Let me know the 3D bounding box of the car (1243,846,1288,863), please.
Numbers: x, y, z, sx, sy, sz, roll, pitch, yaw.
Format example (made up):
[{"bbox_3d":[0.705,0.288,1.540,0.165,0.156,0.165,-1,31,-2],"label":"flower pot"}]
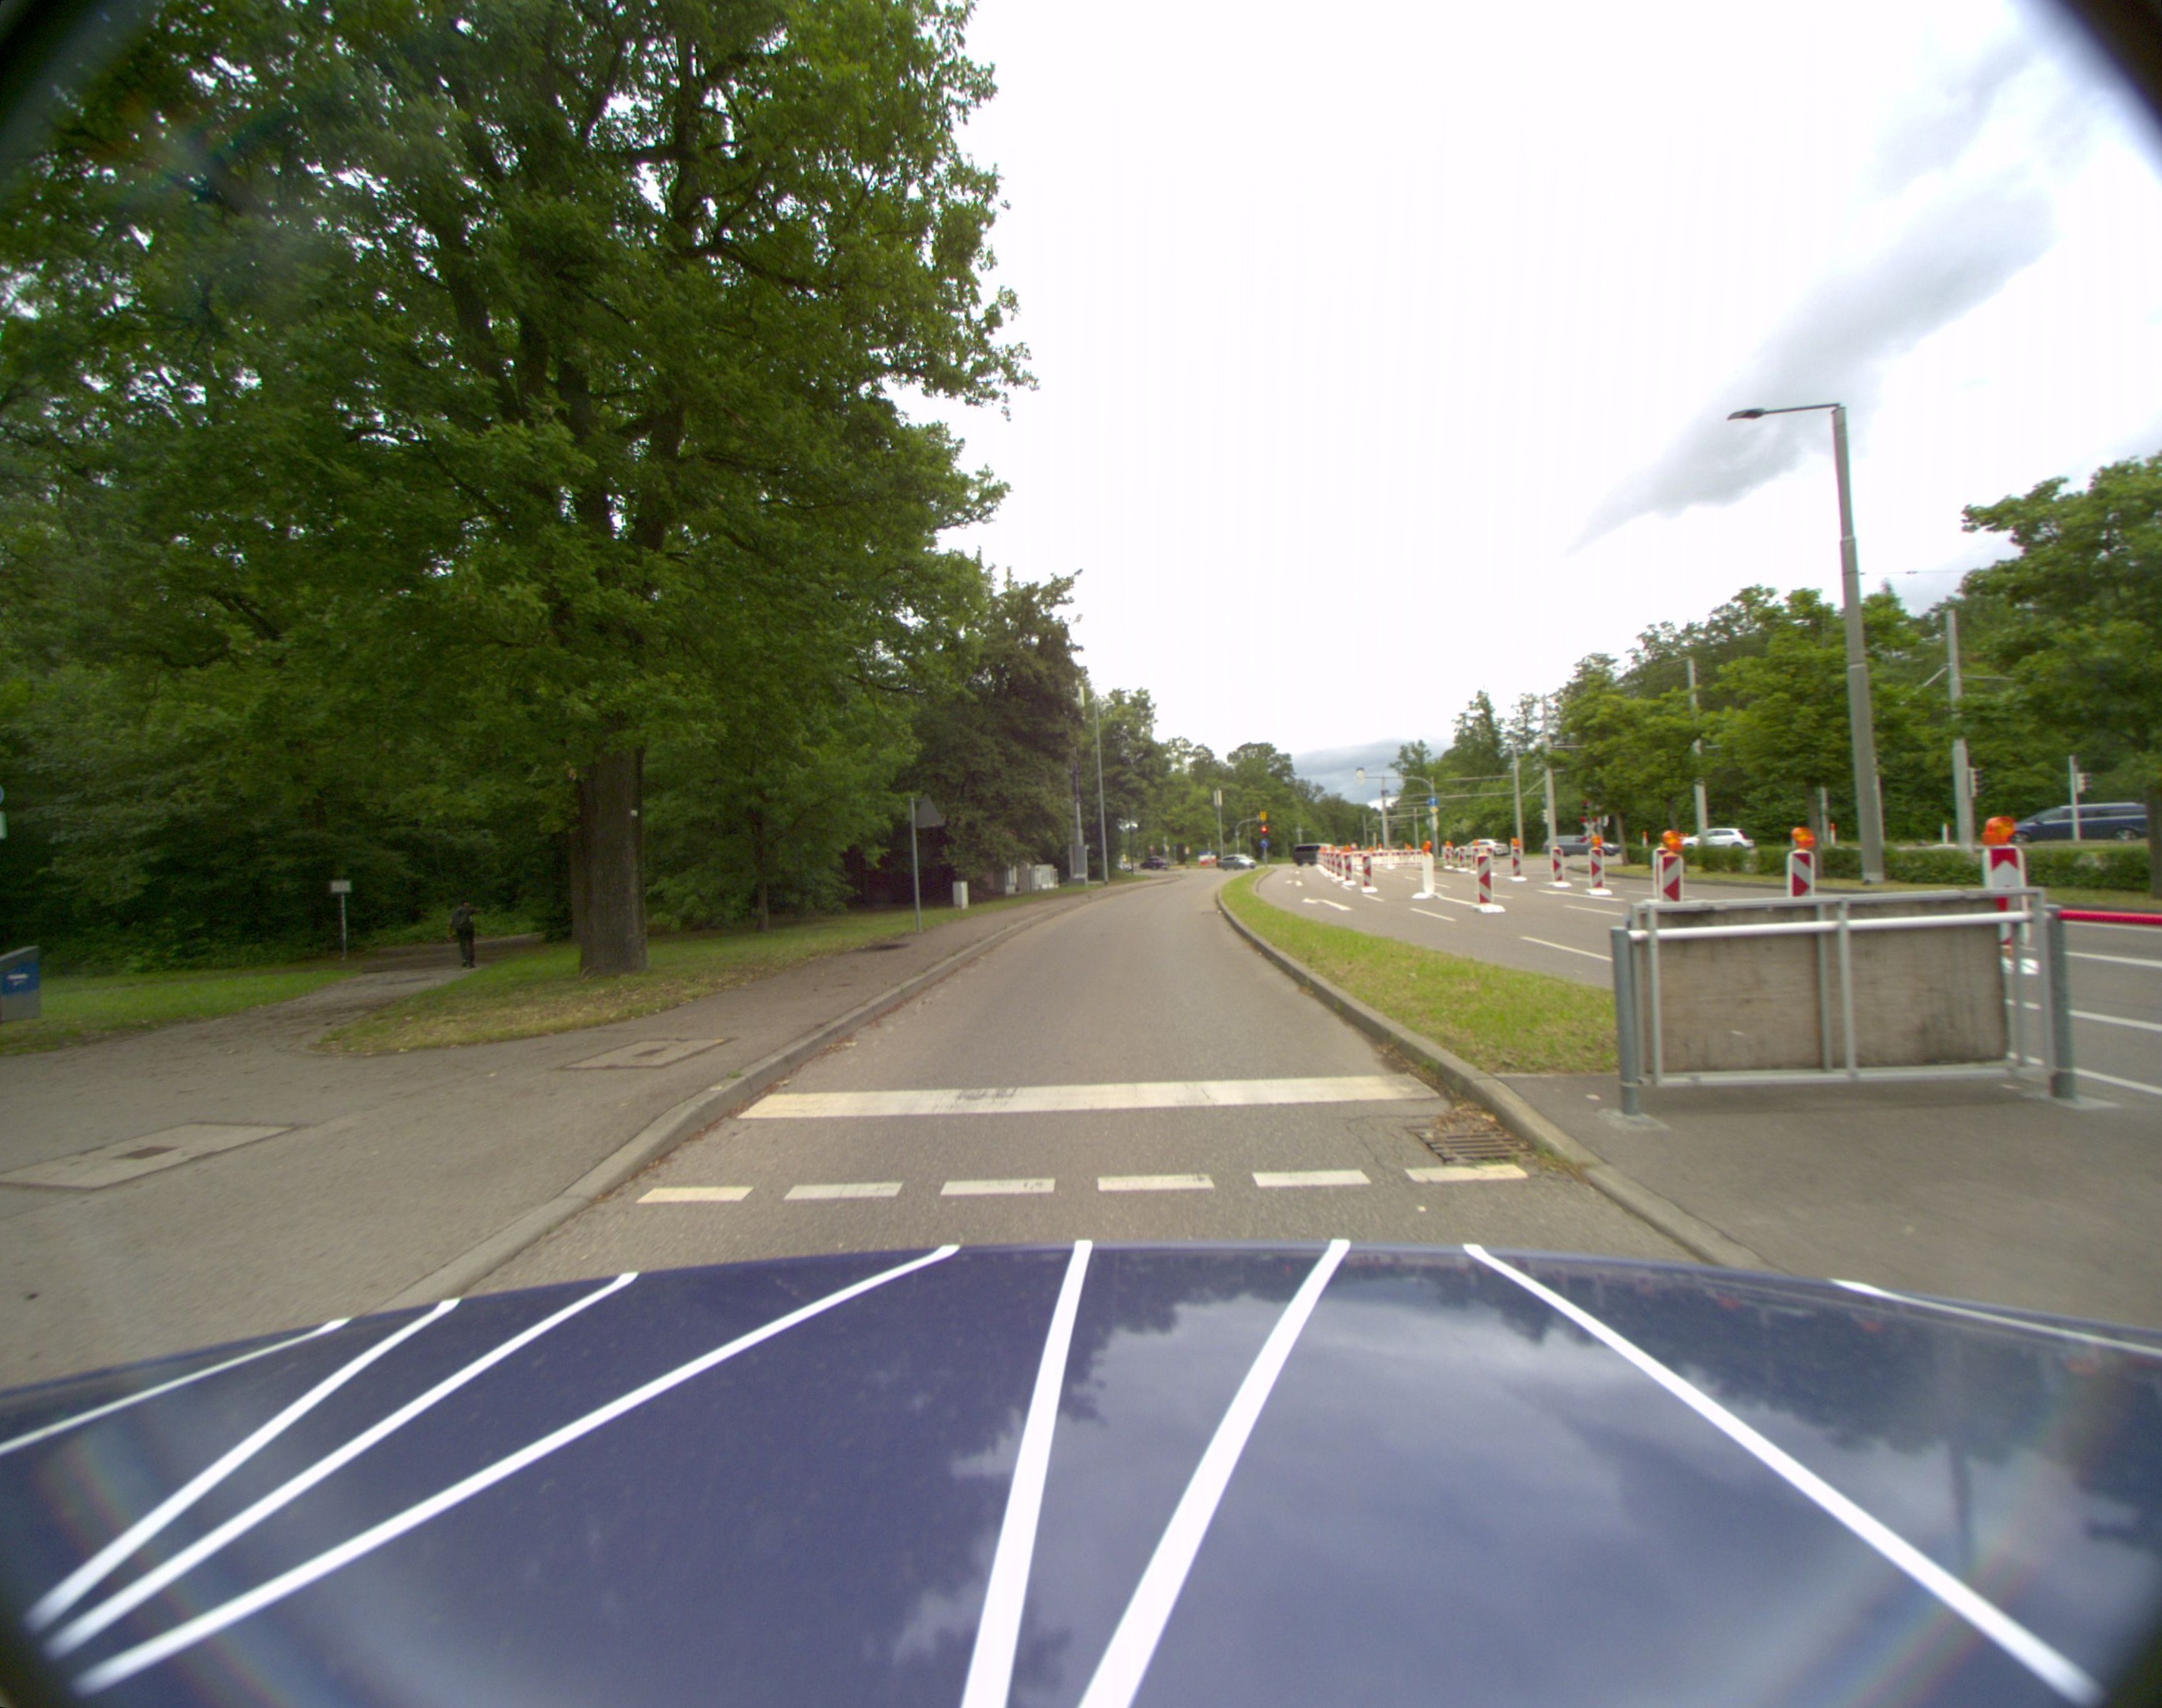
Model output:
[{"bbox_3d":[20.236,0.074,83.548,1.884,1.586,4.440,-4,0,-39],"label":"car"}]

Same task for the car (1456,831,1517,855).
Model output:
[{"bbox_3d":[33.901,-0.898,63.586,1.862,1.642,4.039,-4,0,-33],"label":"car"}]

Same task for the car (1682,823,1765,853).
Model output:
[{"bbox_3d":[42.476,-1.026,50.284,1.862,1.712,3.784,-4,0,-33],"label":"car"}]

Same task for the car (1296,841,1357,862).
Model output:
[{"bbox_3d":[21.731,-0.179,67.470,1.961,1.578,4.898,-4,0,-36],"label":"car"}]

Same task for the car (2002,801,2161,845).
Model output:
[{"bbox_3d":[50.312,-1.531,38.195,2.003,1.805,4.823,-4,0,-33],"label":"car"}]

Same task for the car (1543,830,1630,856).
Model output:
[{"bbox_3d":[33.135,-0.710,49.923,1.799,1.428,4.380,-4,0,-34],"label":"car"}]

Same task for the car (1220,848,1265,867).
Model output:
[{"bbox_3d":[16.028,0.389,75.578,1.901,1.631,3.974,-4,0,-36],"label":"car"}]

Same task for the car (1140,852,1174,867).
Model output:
[{"bbox_3d":[9.970,0.735,99.914,2.003,1.718,4.463,-4,0,-31],"label":"car"}]

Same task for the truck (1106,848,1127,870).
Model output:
[{"bbox_3d":[5.578,0.714,119.119,2.746,3.192,6.673,-4,0,0],"label":"truck"}]

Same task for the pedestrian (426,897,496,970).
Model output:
[{"bbox_3d":[-15.239,1.931,18.713,0.834,1.641,1.035,-4,0,-11],"label":"pedestrian"}]
